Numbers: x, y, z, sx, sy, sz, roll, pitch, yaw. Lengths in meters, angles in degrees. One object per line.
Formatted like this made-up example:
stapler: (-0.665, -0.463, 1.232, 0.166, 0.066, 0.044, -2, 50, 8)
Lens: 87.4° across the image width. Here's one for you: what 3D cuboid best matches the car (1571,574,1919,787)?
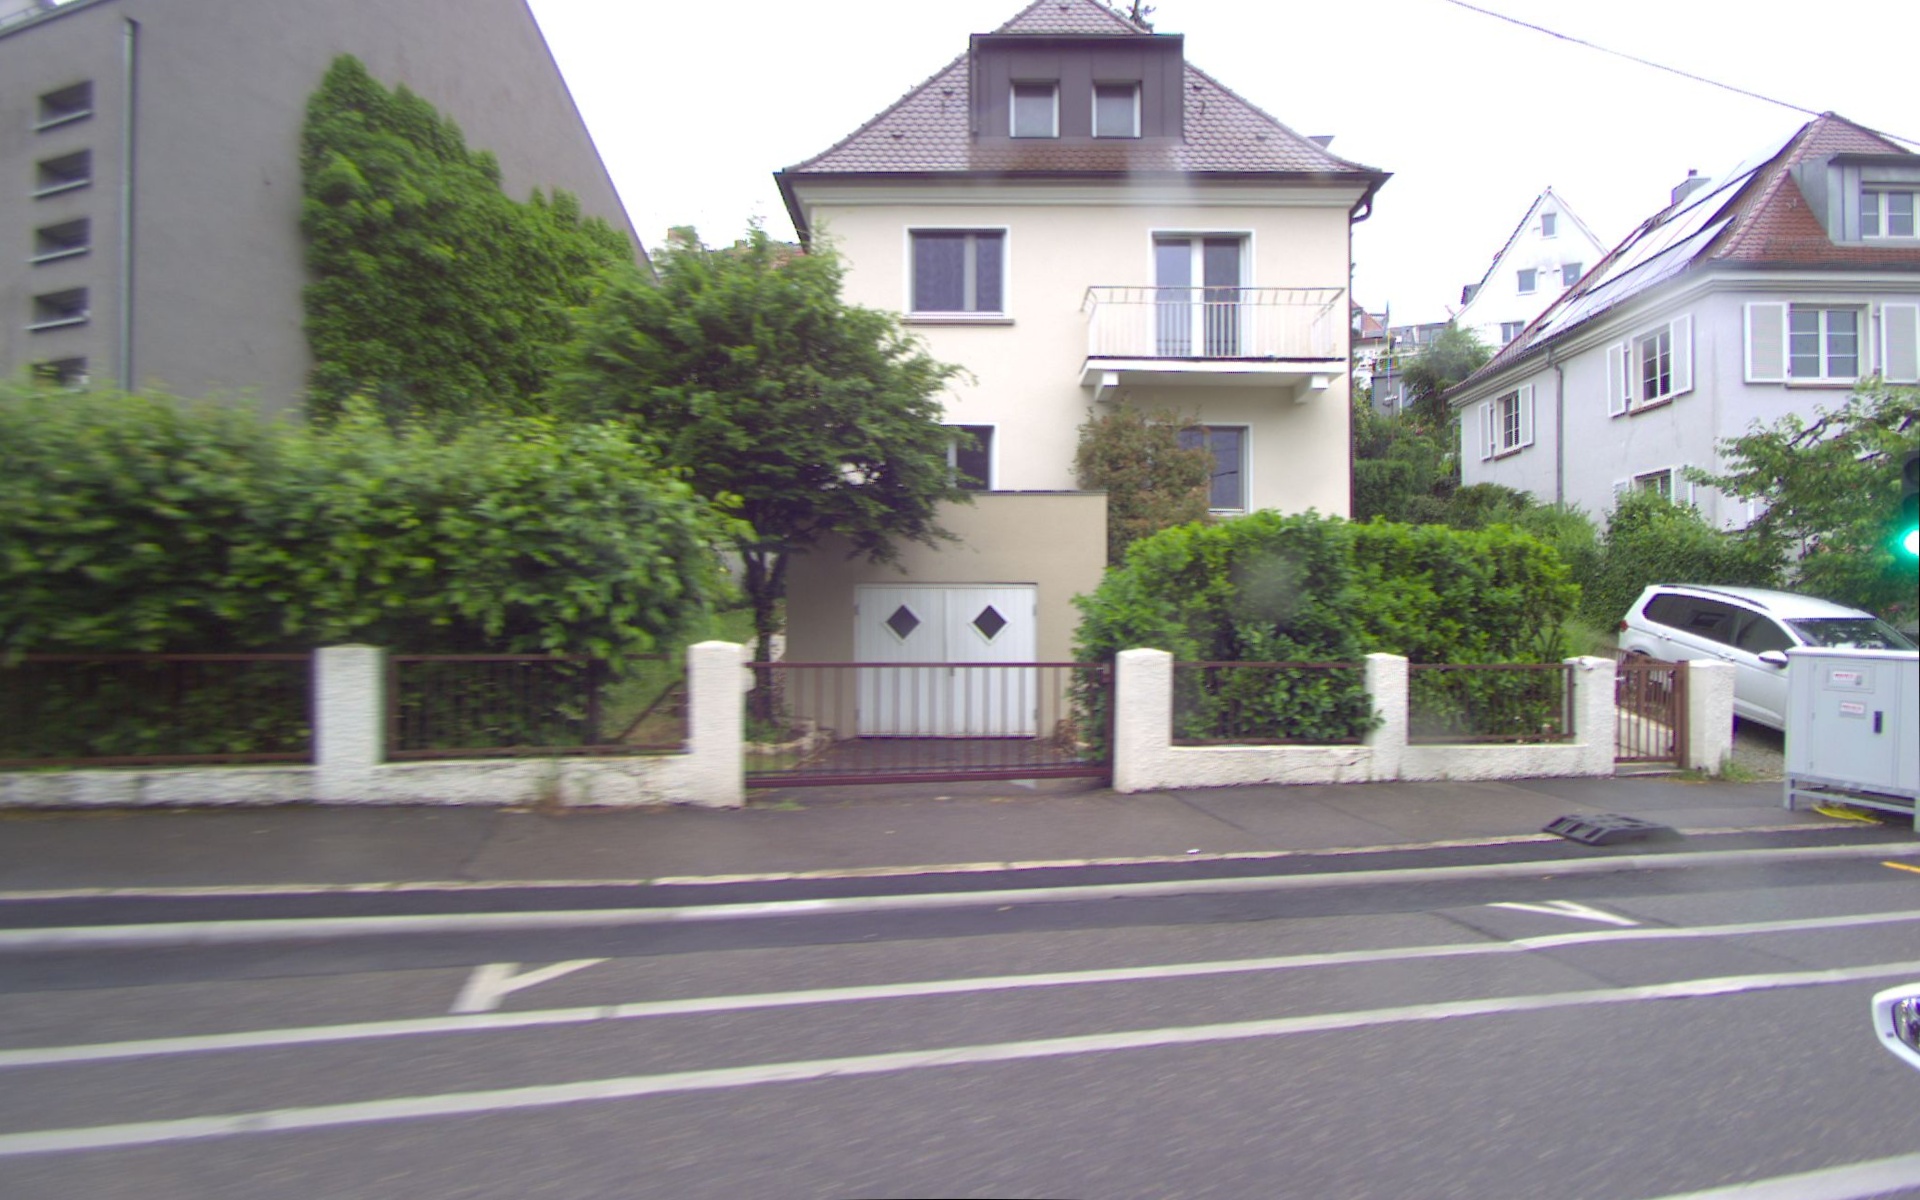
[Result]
car: (10.580, 0.804, 13.077, 1.828, 1.640, 4.972, 1, 9, -4)
